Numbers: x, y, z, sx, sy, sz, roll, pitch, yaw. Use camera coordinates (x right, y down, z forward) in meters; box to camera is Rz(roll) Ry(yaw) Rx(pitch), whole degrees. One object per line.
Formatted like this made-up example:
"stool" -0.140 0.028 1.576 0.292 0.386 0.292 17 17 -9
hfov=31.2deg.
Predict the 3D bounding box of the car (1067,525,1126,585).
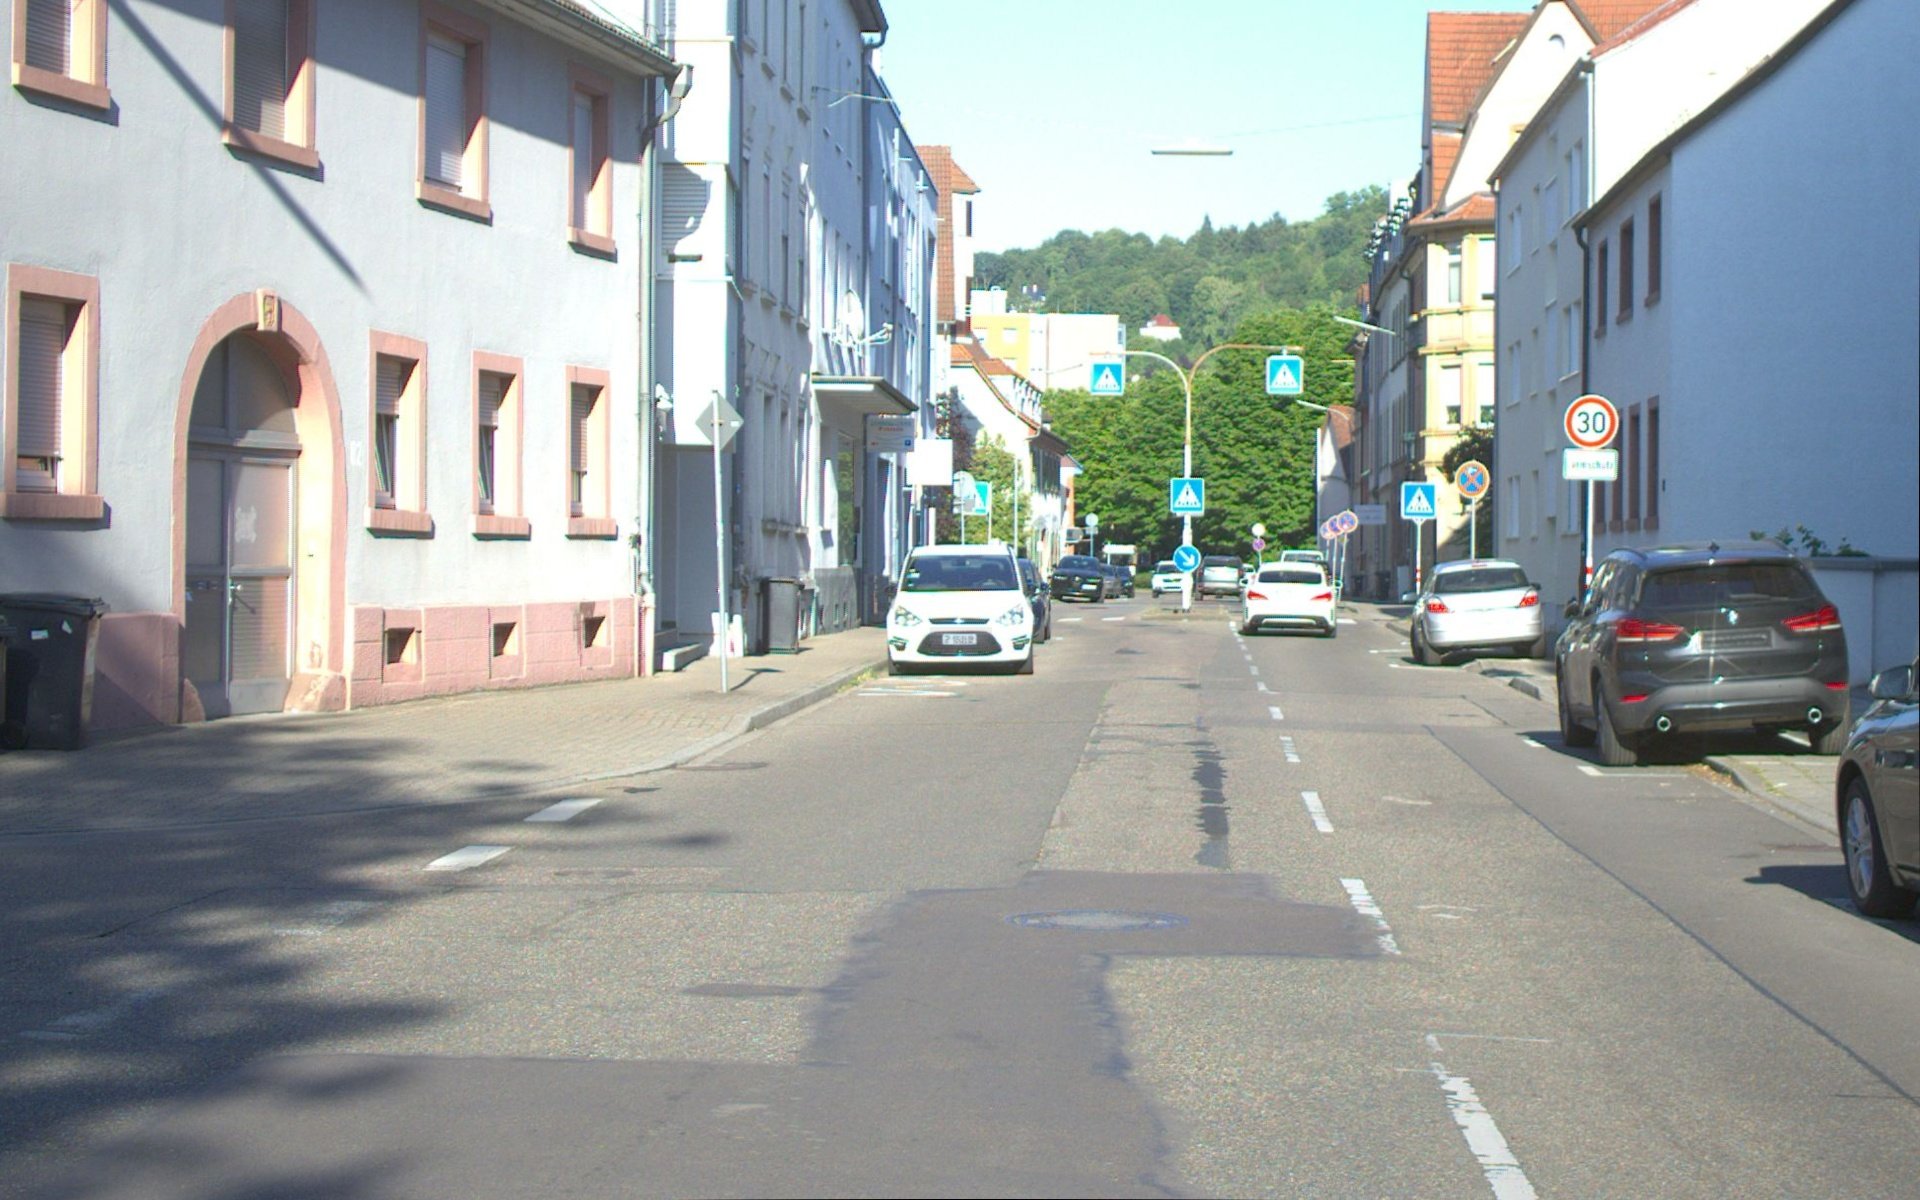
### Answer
"car" 4.795 -1.587 120.979 1.993 2.007 4.000 2 1 2

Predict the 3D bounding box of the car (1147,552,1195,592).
"car" 9.290 -1.229 151.549 1.807 1.696 4.192 -1 1 0

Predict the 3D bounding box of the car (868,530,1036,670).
"car" -0.065 -0.029 44.307 1.993 1.642 5.222 2 1 1

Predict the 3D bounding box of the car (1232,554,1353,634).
"car" 6.343 -0.128 66.011 1.993 1.461 4.000 1 0 1

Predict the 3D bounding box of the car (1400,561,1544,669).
"car" 7.392 0.193 49.943 1.741 1.487 4.438 0 0 4

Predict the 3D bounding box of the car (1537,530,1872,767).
"car" 5.650 0.311 26.619 1.855 1.631 4.622 -1 1 4

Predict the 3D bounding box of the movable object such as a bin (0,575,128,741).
"movable object such as a bin" -6.073 0.383 23.318 0.599 1.090 0.751 2 0 4

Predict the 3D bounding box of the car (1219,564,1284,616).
"car" 11.844 -0.424 139.973 1.993 2.007 4.001 1 1 -4

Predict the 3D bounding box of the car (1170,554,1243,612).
"car" 8.756 -0.623 122.244 1.993 2.007 4.001 1 0 -4

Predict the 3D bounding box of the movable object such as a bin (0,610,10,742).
"movable object such as a bin" -6.616 0.496 22.510 0.598 0.869 0.606 1 0 1

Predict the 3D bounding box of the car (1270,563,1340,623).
"car" 11.423 -0.236 114.067 2.011 1.846 4.000 2 1 2

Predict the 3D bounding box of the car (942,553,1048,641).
"car" 0.644 -0.040 60.953 1.731 1.494 3.958 1 0 3

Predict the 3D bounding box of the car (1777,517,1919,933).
"car" 4.814 0.508 13.736 1.993 1.647 4.763 1 1 1
